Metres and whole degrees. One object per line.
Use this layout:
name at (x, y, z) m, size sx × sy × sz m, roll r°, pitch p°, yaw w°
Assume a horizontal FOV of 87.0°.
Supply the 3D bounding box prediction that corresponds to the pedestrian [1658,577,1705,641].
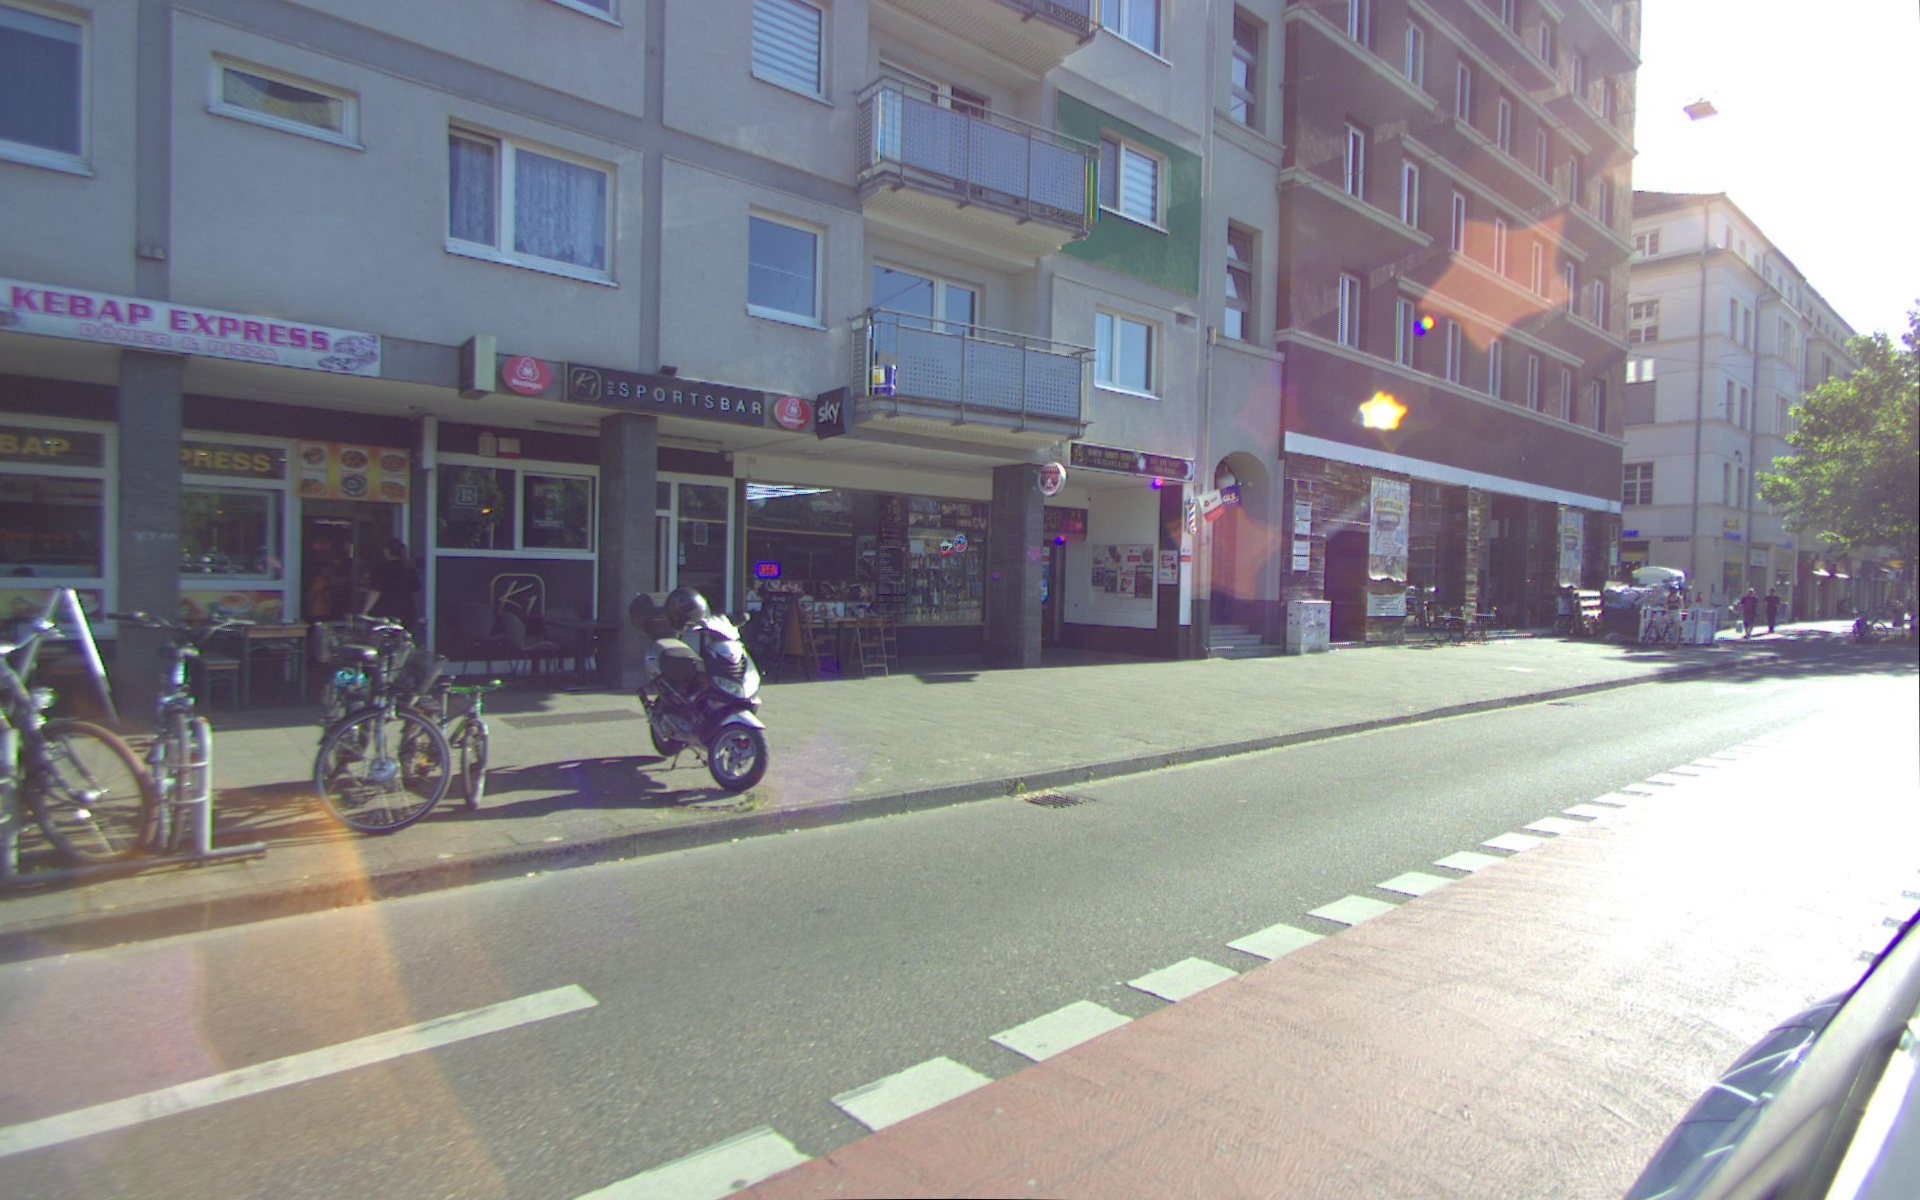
pedestrian at (19.027, 0.227, 26.700) m, size 0.658 × 1.671 × 0.774 m, roll 1°, pitch 1°, yaw -28°

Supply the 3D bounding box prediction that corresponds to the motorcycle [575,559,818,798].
motorcycle at (-1.963, 0.463, 7.356) m, size 0.874 × 1.446 × 1.880 m, roll 0°, pitch 4°, yaw -44°

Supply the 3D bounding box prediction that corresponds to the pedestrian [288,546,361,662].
pedestrian at (-8.449, 0.041, 13.454) m, size 0.700 × 1.493 × 0.765 m, roll 0°, pitch 1°, yaw -41°

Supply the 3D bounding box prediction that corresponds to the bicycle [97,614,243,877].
bicycle at (-4.188, 0.663, 5.315) m, size 0.408 × 1.073 × 1.819 m, roll 0°, pitch 2°, yaw -44°

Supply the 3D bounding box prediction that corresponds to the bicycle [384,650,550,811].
bicycle at (-3.188, 0.787, 6.498) m, size 0.562 × 0.774 × 1.346 m, roll 0°, pitch 4°, yaw -44°

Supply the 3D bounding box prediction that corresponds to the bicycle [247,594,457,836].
bicycle at (-3.723, 0.588, 6.122) m, size 0.692 × 1.188 × 1.819 m, roll 0°, pitch 2°, yaw -44°

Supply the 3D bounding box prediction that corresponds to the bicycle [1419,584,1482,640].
bicycle at (11.445, 0.256, 23.575) m, size 1.899 × 1.257 × 0.598 m, roll -1°, pitch 2°, yaw -41°

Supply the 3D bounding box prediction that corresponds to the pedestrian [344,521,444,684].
pedestrian at (-6.172, 0.016, 11.032) m, size 0.810 × 1.683 × 0.728 m, roll 0°, pitch 1°, yaw -41°

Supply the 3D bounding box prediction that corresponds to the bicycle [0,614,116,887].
bicycle at (-4.593, 0.656, 5.103) m, size 0.408 × 1.073 × 1.820 m, roll 0°, pitch 2°, yaw -43°

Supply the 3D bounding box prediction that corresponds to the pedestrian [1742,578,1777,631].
pedestrian at (29.217, 0.158, 37.009) m, size 0.861 × 1.907 × 1.208 m, roll 1°, pitch 1°, yaw 33°

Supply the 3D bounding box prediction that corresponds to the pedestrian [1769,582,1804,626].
pedestrian at (32.368, 0.141, 39.641) m, size 0.859 × 1.669 × 0.973 m, roll 1°, pitch 1°, yaw 27°
